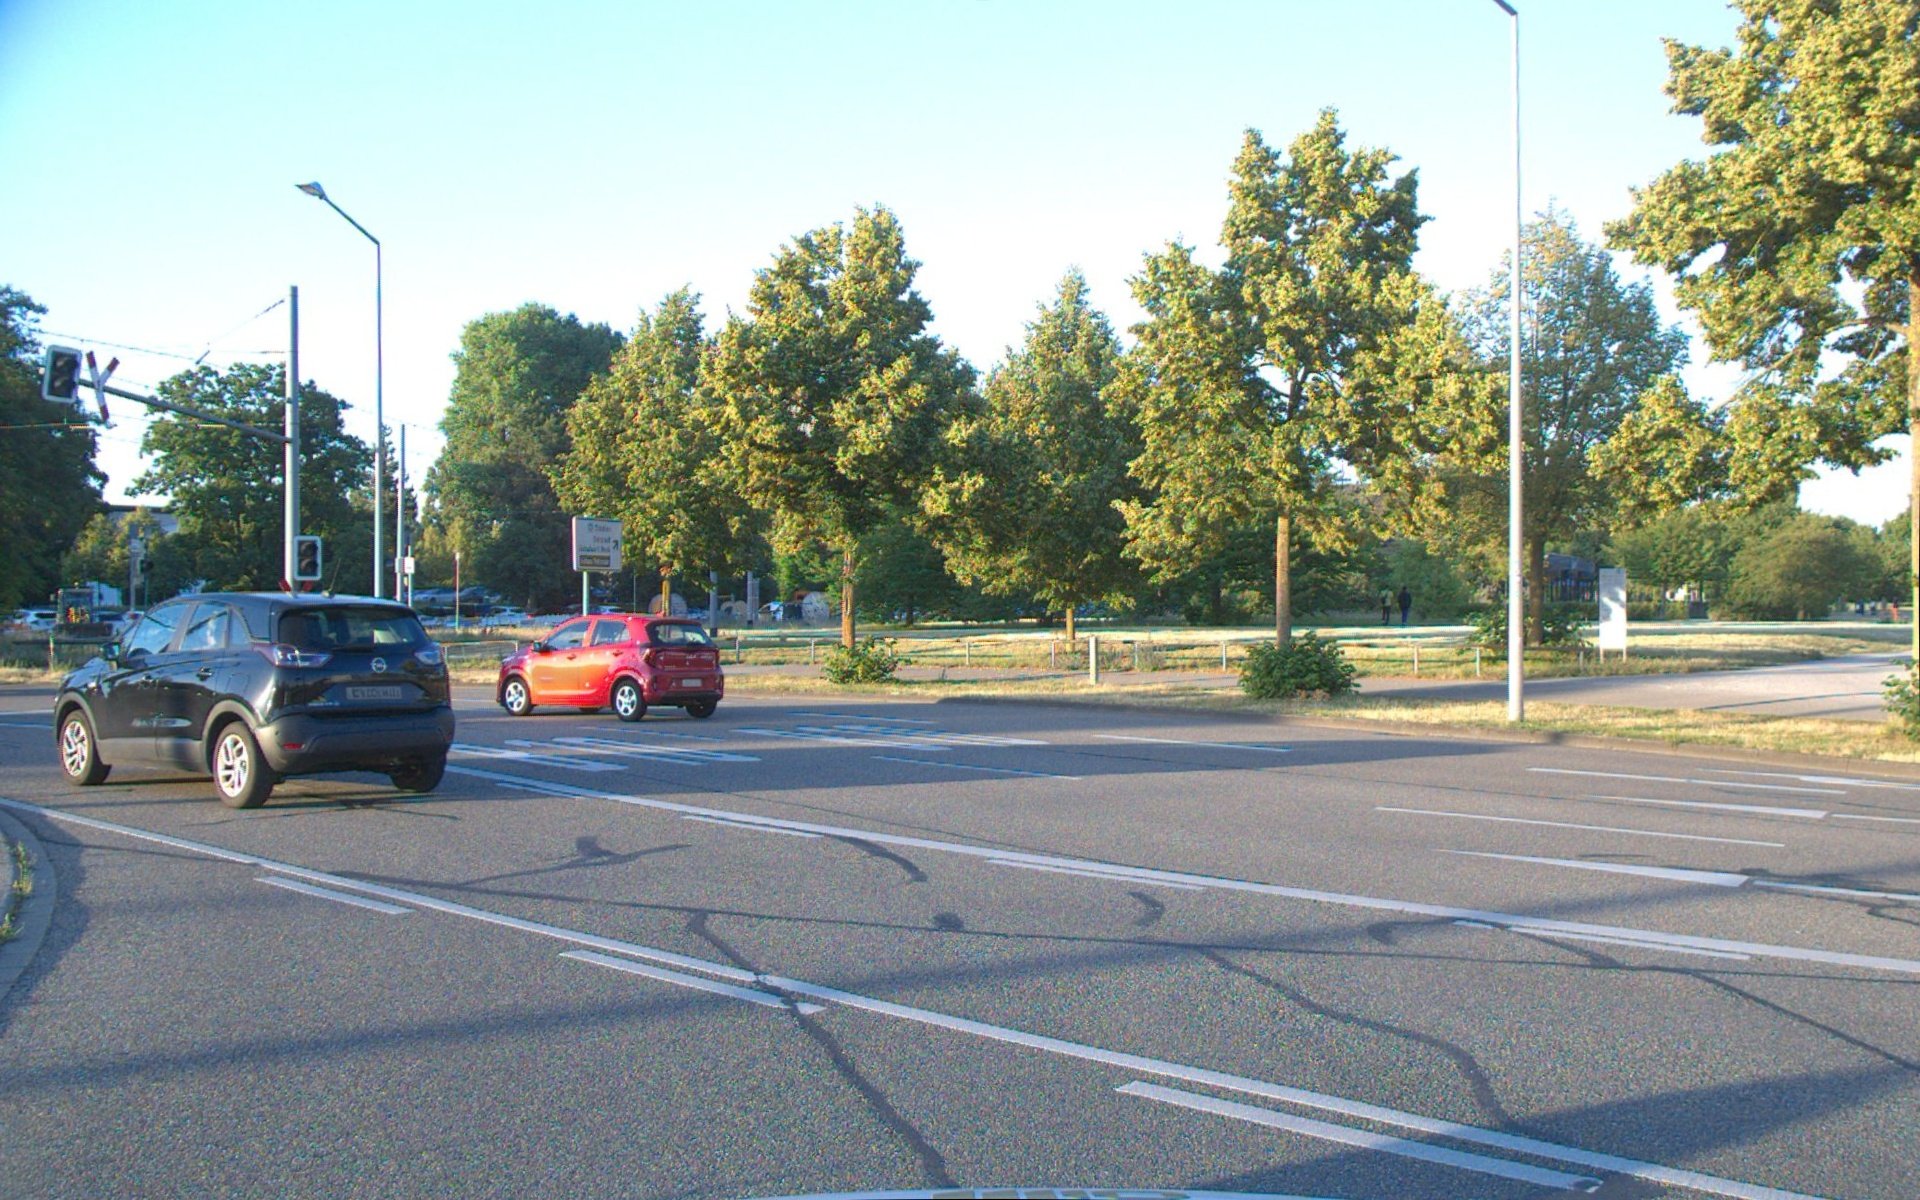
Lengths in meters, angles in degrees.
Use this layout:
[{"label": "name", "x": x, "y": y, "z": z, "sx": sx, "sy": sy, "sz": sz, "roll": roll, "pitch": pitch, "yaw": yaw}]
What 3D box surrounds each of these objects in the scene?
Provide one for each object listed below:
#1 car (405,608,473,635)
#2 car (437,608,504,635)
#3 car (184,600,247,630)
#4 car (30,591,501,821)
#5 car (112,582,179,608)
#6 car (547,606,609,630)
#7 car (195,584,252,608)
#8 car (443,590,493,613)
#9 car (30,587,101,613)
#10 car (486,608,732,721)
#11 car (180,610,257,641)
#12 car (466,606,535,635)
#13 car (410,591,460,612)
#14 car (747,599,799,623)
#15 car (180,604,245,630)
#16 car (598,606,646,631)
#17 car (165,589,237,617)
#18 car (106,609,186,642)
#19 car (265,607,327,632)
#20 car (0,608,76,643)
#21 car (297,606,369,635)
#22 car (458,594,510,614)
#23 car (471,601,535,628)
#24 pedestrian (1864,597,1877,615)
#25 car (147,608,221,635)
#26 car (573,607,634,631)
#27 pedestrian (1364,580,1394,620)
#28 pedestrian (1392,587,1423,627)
[{"label": "car", "x": -32.299, "y": 1.296, "z": 102.548, "sx": 3.915, "sy": 1.632, "sz": 1.995, "roll": 0, "pitch": 0, "yaw": 32}, {"label": "car", "x": -30.964, "y": 1.328, "z": 104.686, "sx": 3.915, "sy": 1.632, "sz": 1.995, "roll": 0, "pitch": 0, "yaw": 32}, {"label": "car", "x": -51.906, "y": 1.049, "z": 115.350, "sx": 3.939, "sy": 2.049, "sz": 1.983, "roll": 0, "pitch": 0, "yaw": -27}, {"label": "car", "x": -5.752, "y": 0.737, "z": 13.545, "sx": 3.922, "sy": 1.612, "sz": 1.887, "roll": 0, "pitch": 0, "yaw": 38}, {"label": "car", "x": -67.106, "y": -0.406, "z": 136.340, "sx": 1.958, "sy": 2.049, "sz": 4.585, "roll": 0, "pitch": 0, "yaw": 33}, {"label": "car", "x": -26.258, "y": 1.243, "z": 113.675, "sx": 3.915, "sy": 1.632, "sz": 1.995, "roll": 0, "pitch": 0, "yaw": 32}, {"label": "car", "x": -63.363, "y": -0.318, "z": 142.361, "sx": 1.958, "sy": 2.049, "sz": 4.105, "roll": 0, "pitch": 0, "yaw": 33}, {"label": "car", "x": -44.077, "y": 0.119, "z": 148.237, "sx": 1.963, "sy": 2.049, "sz": 3.979, "roll": 0, "pitch": 0, "yaw": 40}, {"label": "car", "x": -70.522, "y": -0.018, "z": 130.465, "sx": 1.956, "sy": 2.049, "sz": 4.590, "roll": 0, "pitch": 0, "yaw": 29}, {"label": "car", "x": -5.159, "y": 0.886, "z": 24.228, "sx": 3.418, "sy": 1.526, "sz": 1.637, "roll": 0, "pitch": 0, "yaw": 34}, {"label": "car", "x": -40.519, "y": 1.368, "z": 90.377, "sx": 3.915, "sy": 1.632, "sz": 1.995, "roll": 0, "pitch": 0, "yaw": 32}, {"label": "car", "x": -32.513, "y": 1.447, "z": 117.155, "sx": 4.499, "sy": 2.049, "sz": 1.996, "roll": 0, "pitch": 0, "yaw": -9}, {"label": "car", "x": -47.939, "y": 0.123, "z": 151.064, "sx": 1.959, "sy": 1.847, "sz": 3.987, "roll": 0, "pitch": 0, "yaw": 34}, {"label": "car", "x": -12.991, "y": 0.767, "z": 114.673, "sx": 1.724, "sy": 1.646, "sz": 3.940, "roll": 0, "pitch": 0, "yaw": -41}, {"label": "car", "x": -50.549, "y": 1.114, "z": 111.871, "sx": 3.939, "sy": 1.691, "sz": 1.983, "roll": 0, "pitch": 0, "yaw": -27}, {"label": "car", "x": -26.352, "y": 1.401, "z": 128.880, "sx": 1.979, "sy": 1.782, "sz": 4.538, "roll": 0, "pitch": 1, "yaw": -37}, {"label": "car", "x": -56.635, "y": 0.245, "z": 123.491, "sx": 1.956, "sy": 2.049, "sz": 4.590, "roll": 0, "pitch": 0, "yaw": 29}, {"label": "car", "x": -42.244, "y": 1.318, "z": 85.787, "sx": 3.915, "sy": 1.632, "sz": 1.995, "roll": 0, "pitch": 0, "yaw": 32}, {"label": "car", "x": -45.805, "y": 1.326, "z": 114.112, "sx": 3.933, "sy": 1.691, "sz": 1.889, "roll": 0, "pitch": 0, "yaw": -23}, {"label": "car", "x": -45.614, "y": 1.241, "z": 81.435, "sx": 3.915, "sy": 1.632, "sz": 1.995, "roll": 0, "pitch": 0, "yaw": 32}, {"label": "car", "x": -36.433, "y": 1.197, "z": 96.089, "sx": 3.915, "sy": 1.632, "sz": 1.995, "roll": 0, "pitch": 0, "yaw": 32}, {"label": "car", "x": -41.677, "y": 0.305, "z": 144.724, "sx": 3.902, "sy": 1.736, "sz": 2.001, "roll": 0, "pitch": 0, "yaw": 6}, {"label": "car", "x": -34.581, "y": 1.091, "z": 125.263, "sx": 4.499, "sy": 2.049, "sz": 1.996, "roll": 0, "pitch": 0, "yaw": -9}, {"label": "pedestrian", "x": 82.086, "y": 0.537, "z": 149.111, "sx": 0.834, "sy": 1.690, "sz": 0.979, "roll": 0, "pitch": 0, "yaw": 20}, {"label": "car", "x": -50.219, "y": 1.375, "z": 107.084, "sx": 1.863, "sy": 1.691, "sz": 3.987, "roll": 0, "pitch": 0, "yaw": 34}, {"label": "car", "x": -24.889, "y": 1.329, "z": 115.424, "sx": 3.915, "sy": 1.632, "sz": 1.995, "roll": 0, "pitch": 0, "yaw": 32}, {"label": "pedestrian", "x": 17.567, "y": 0.003, "z": 69.351, "sx": 1.047, "sy": 1.646, "sz": 0.911, "roll": 0, "pitch": 0, "yaw": 2}, {"label": "pedestrian", "x": 18.746, "y": 0.280, "z": 69.279, "sx": 1.047, "sy": 1.646, "sz": 0.911, "roll": 0, "pitch": 0, "yaw": 2}]
